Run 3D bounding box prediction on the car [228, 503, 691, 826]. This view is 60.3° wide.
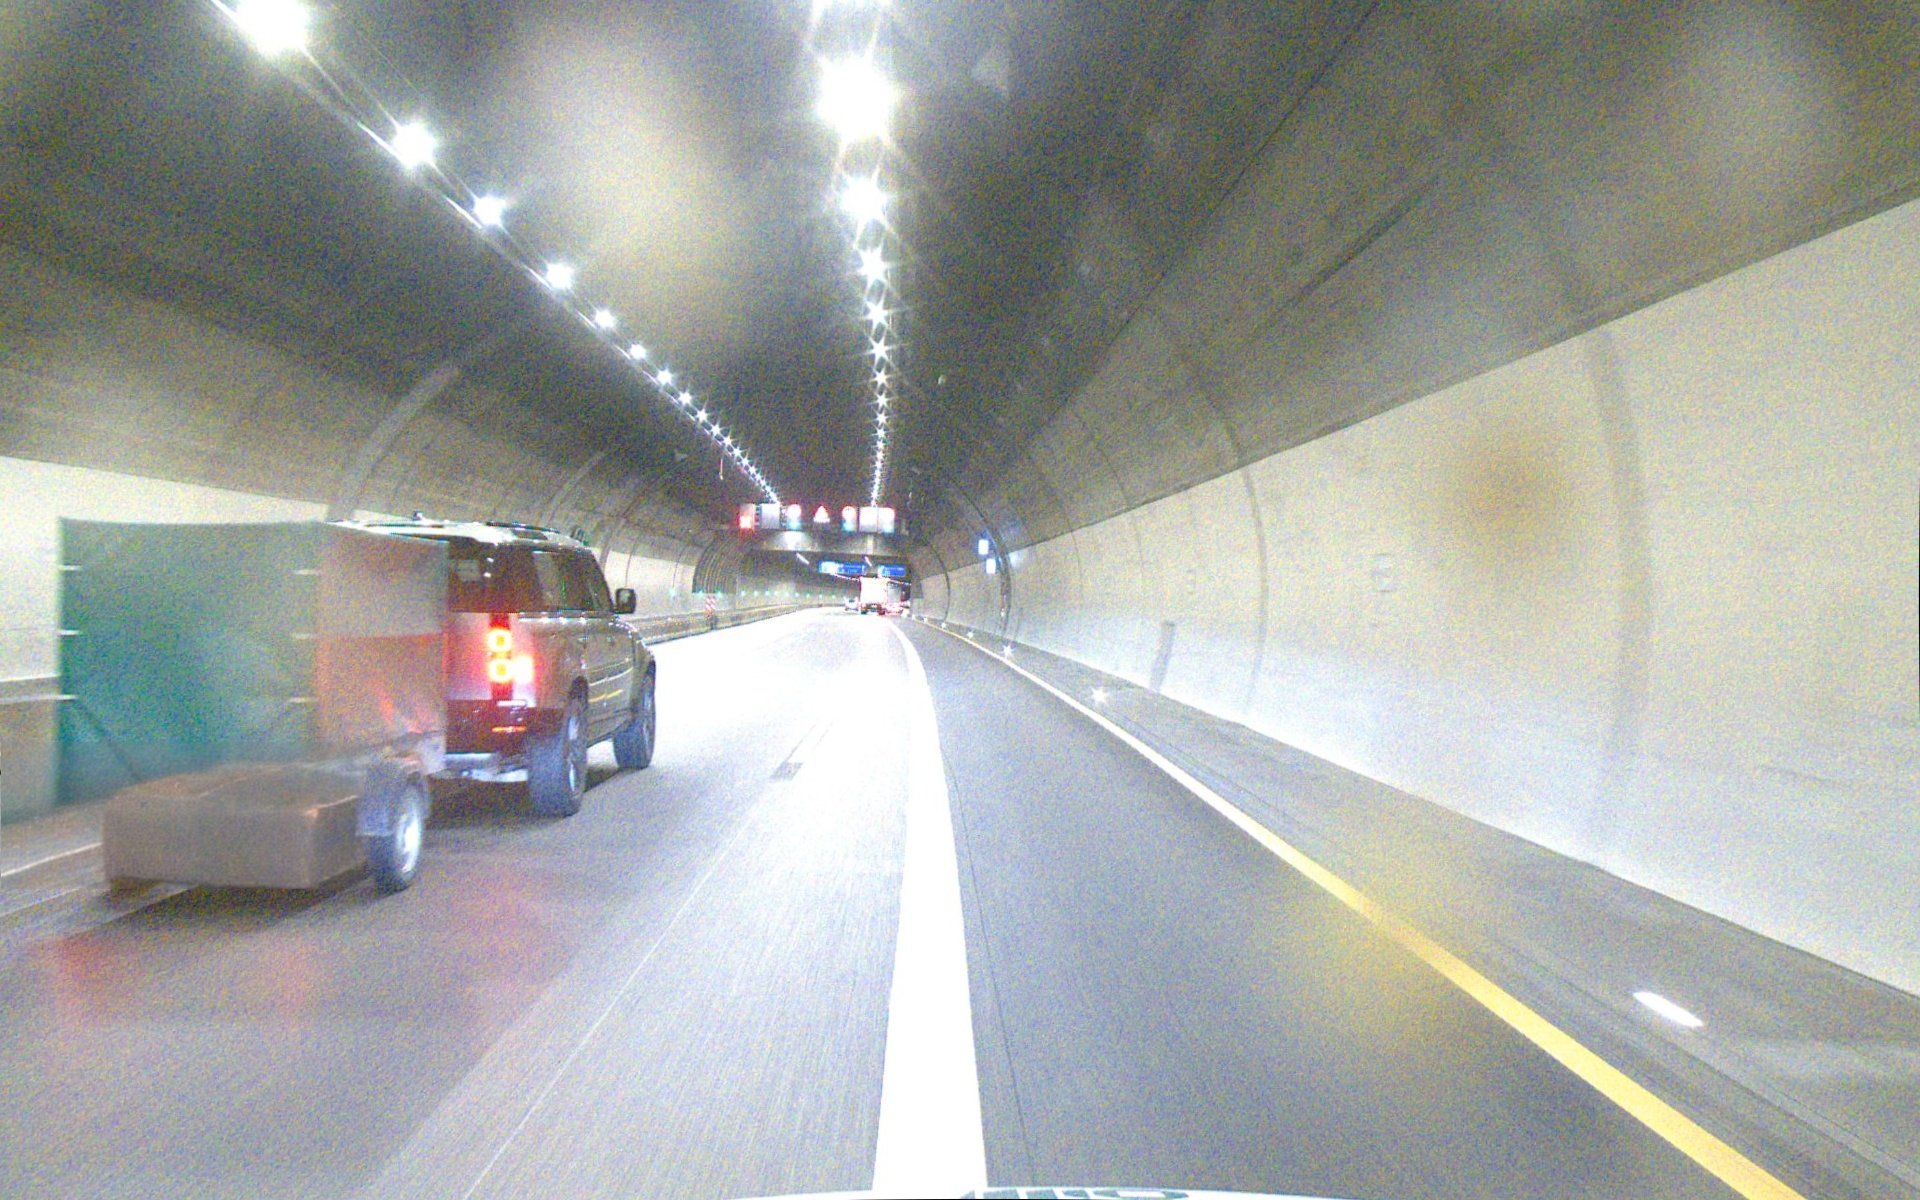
[{"bbox_3d":[-3.454,0.383,12.678,1.953,1.928,5.452,1,0,-1],"label":"car"}]

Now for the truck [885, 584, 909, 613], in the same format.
[{"bbox_3d":[-9.980,-0.214,259.634,3.405,4.391,10.944,2,0,-4],"label":"truck"}]

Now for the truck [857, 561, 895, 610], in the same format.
[{"bbox_3d":[-8.235,-1.418,161.076,3.405,4.391,10.944,3,0,-4],"label":"truck"}]

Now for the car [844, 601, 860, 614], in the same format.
[{"bbox_3d":[-14.088,1.001,215.417,1.954,1.609,3.996,3,0,-4],"label":"car"}]
